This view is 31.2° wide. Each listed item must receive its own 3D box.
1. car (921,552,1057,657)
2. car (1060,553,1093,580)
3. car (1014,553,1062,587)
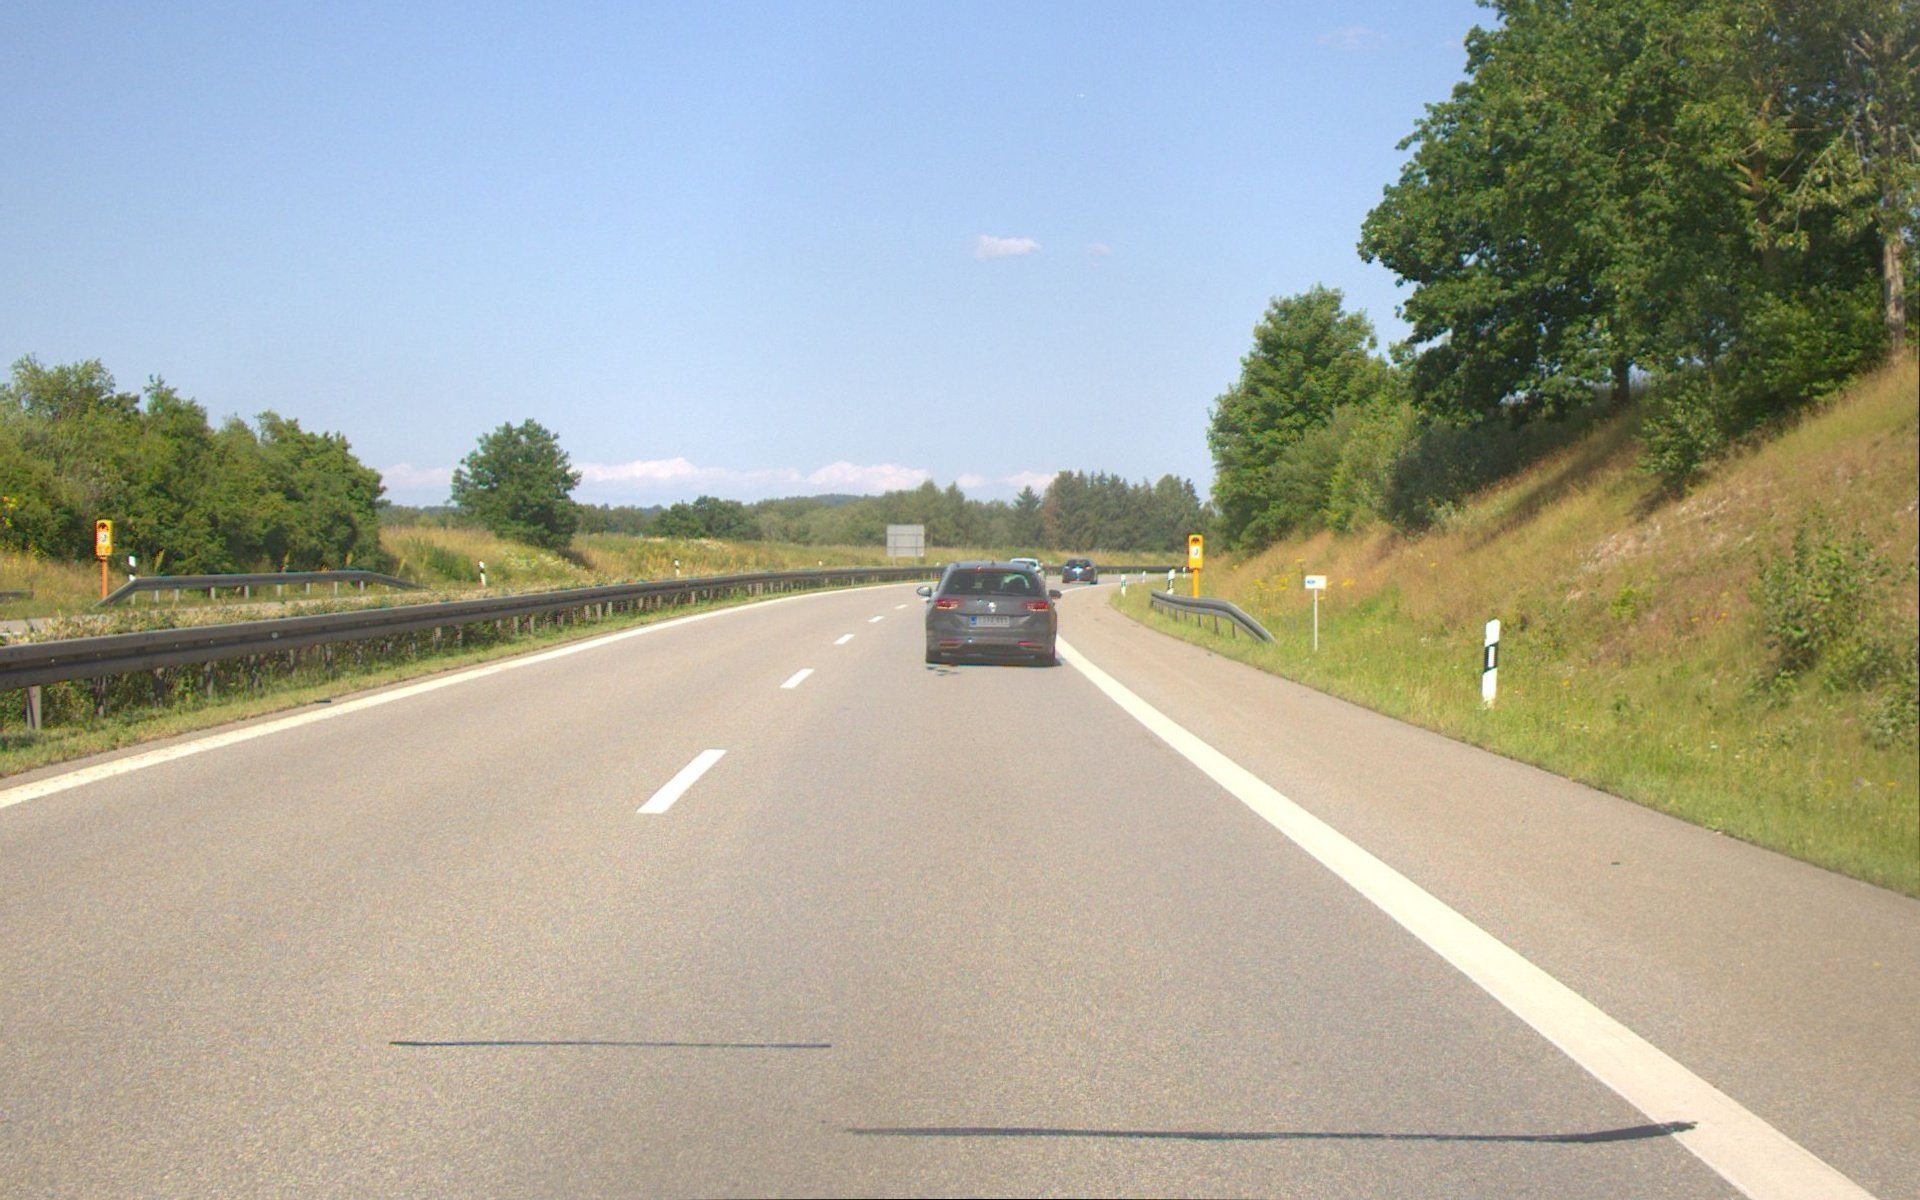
[{"bbox_3d":[0.368,0.035,47.730,1.791,1.340,4.000,1,1,-1],"label":"car"},{"bbox_3d":[6.644,-1.896,196.674,1.710,1.382,3.355,3,0,0],"label":"car"},{"bbox_3d":[3.432,-1.330,152.080,2.007,1.340,4.000,3,0,1],"label":"car"}]
